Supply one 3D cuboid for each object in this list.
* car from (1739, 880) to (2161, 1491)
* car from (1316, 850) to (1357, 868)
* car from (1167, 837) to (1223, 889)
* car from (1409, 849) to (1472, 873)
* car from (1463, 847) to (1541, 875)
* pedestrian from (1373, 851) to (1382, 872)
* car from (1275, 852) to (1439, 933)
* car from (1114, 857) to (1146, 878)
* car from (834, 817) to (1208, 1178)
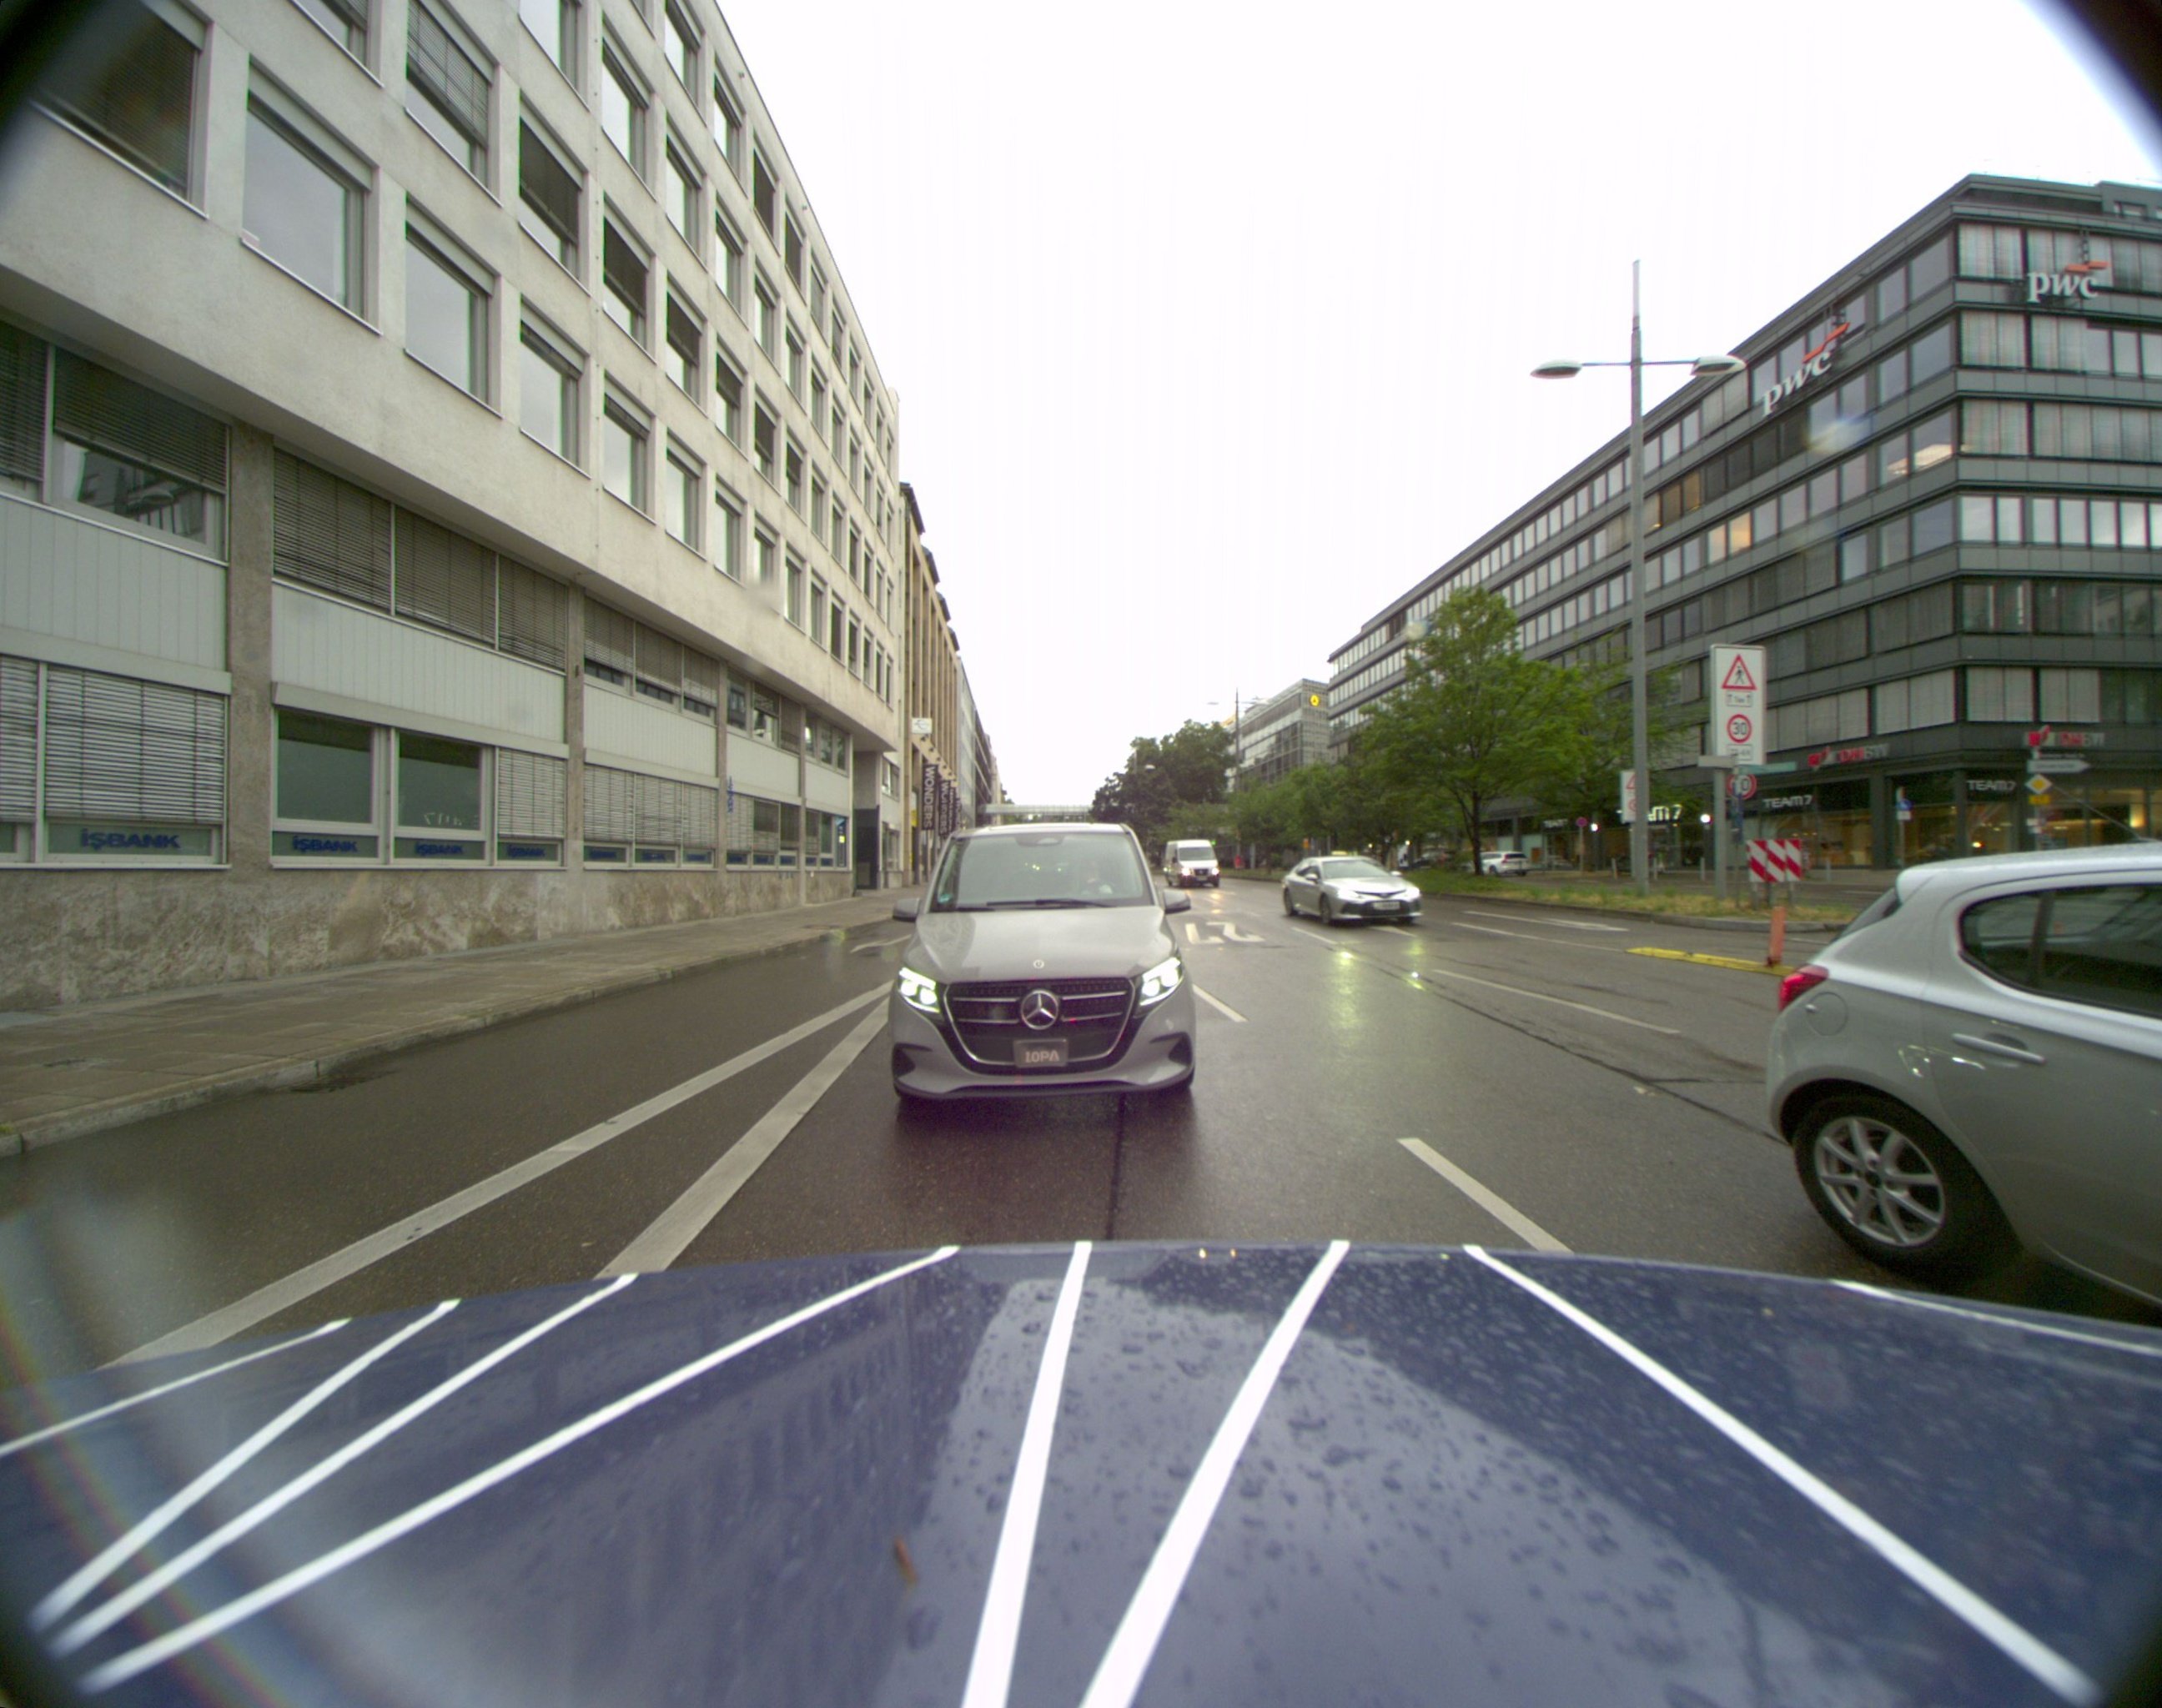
[{"bbox_3d":[3.495,0.840,1.115,1.652,1.427,3.875,-2,0,0],"label":"car"},{"bbox_3d":[22.396,0.449,66.683,1.999,1.498,3.999,-2,0,-4],"label":"car"},{"bbox_3d":[5.829,0.440,39.424,1.951,2.426,5.480,-2,0,0],"label":"car"},{"bbox_3d":[23.648,0.440,50.138,1.999,1.498,4.106,-2,0,-4],"label":"car"},{"bbox_3d":[24.106,0.382,43.680,1.999,1.498,3.999,-2,0,-4],"label":"car"},{"bbox_3d":[28.533,0.757,73.130,0.689,2.002,0.501,-2,0,-3],"label":"pedestrian"},{"bbox_3d":[5.985,0.755,17.188,1.870,1.524,4.776,-2,0,-1],"label":"car"},{"bbox_3d":[3.602,0.948,56.459,1.776,1.427,4.093,-2,0,-4],"label":"car"},{"bbox_3d":[-0.332,0.767,6.546,1.916,1.844,5.026,-2,0,0],"label":"car"}]
